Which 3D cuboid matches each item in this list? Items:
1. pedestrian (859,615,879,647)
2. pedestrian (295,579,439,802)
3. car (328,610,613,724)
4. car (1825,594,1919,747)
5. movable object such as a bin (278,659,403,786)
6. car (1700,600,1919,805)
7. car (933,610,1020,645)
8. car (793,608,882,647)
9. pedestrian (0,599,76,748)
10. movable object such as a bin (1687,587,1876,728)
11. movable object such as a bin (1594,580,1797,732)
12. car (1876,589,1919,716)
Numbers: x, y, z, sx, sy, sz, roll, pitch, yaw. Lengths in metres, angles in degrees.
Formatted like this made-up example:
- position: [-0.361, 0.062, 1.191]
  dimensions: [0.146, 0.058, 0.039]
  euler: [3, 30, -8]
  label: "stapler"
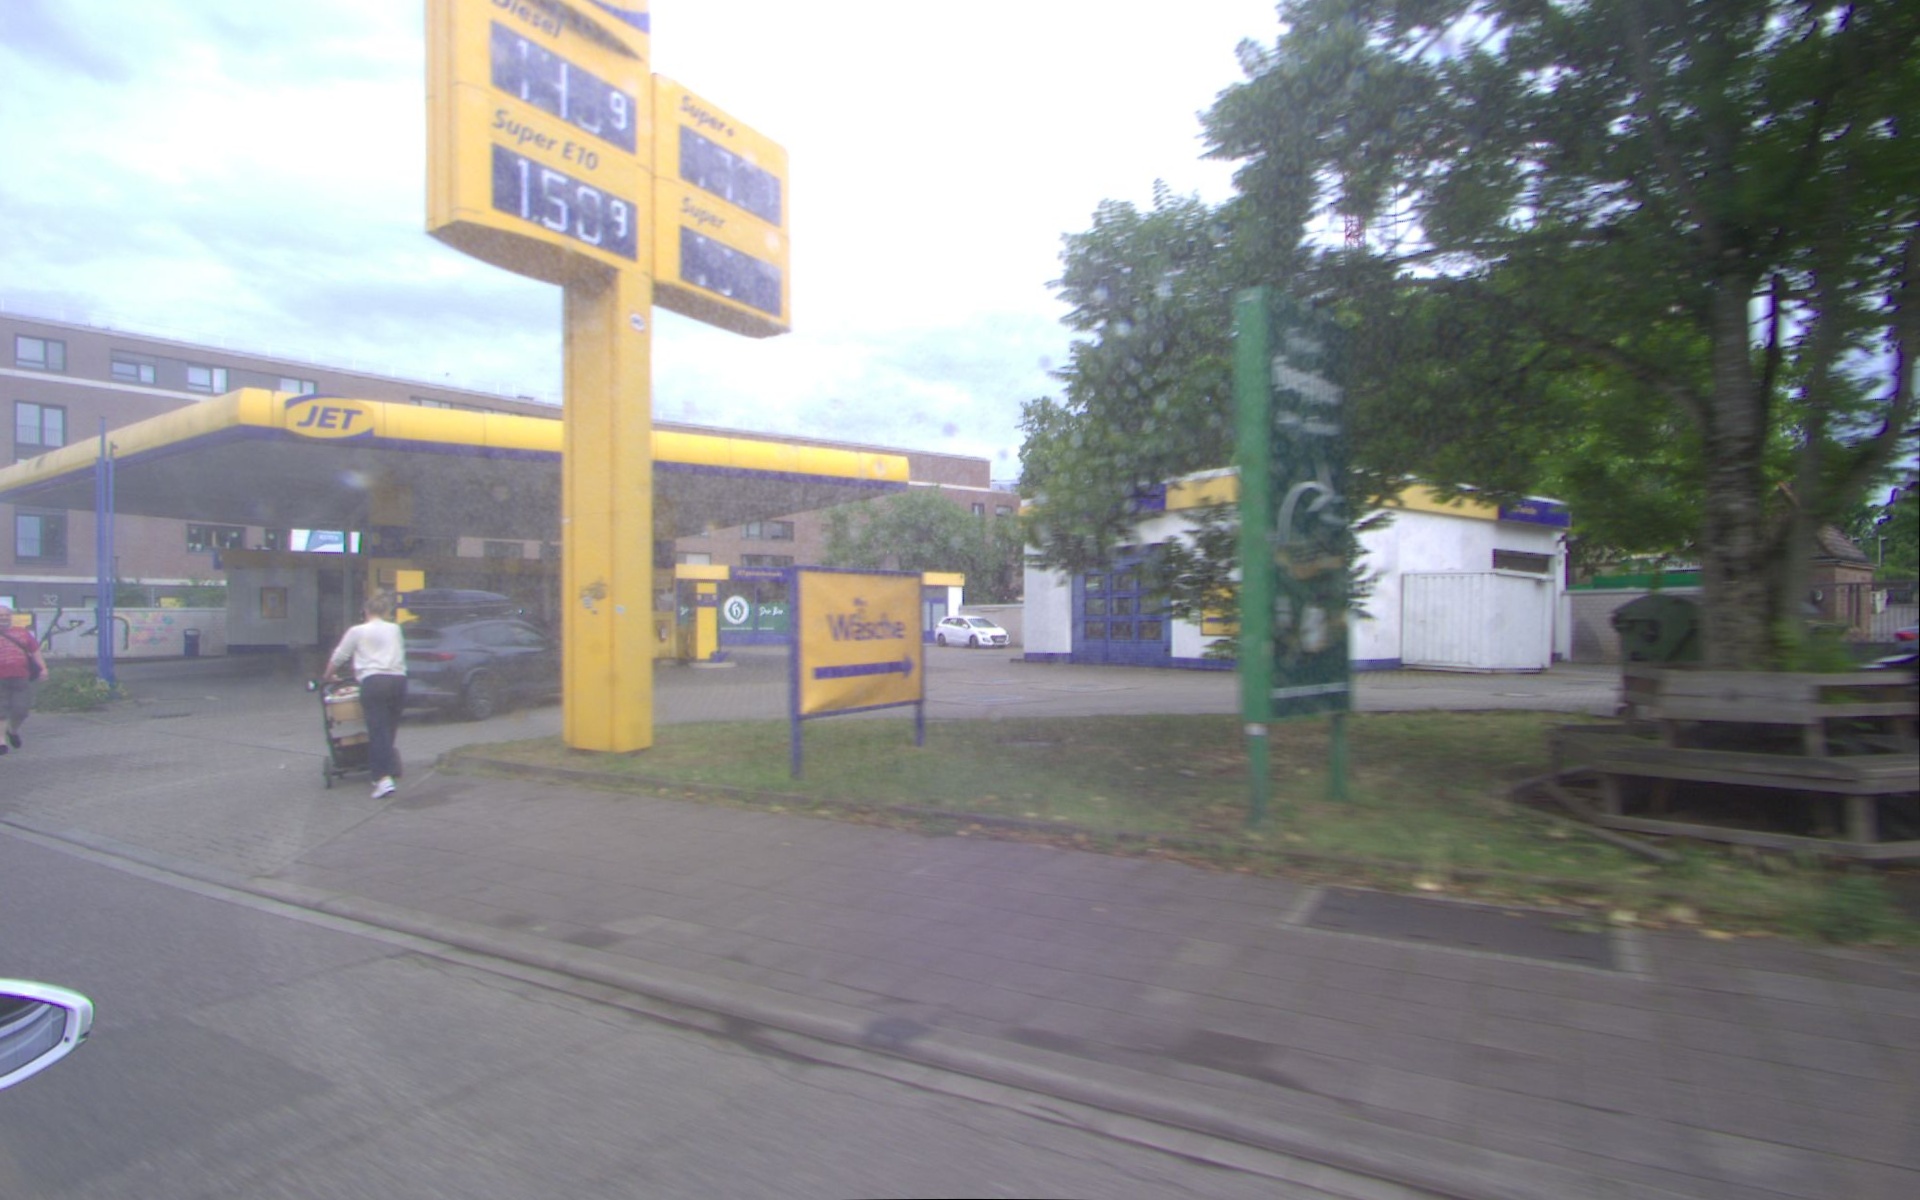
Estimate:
- position: [-3.834, 1.310, 42.210]
  dimensions: [0.573, 1.364, 0.607]
  euler: [2, -2, -36]
  label: "pedestrian"
- position: [-5.274, 0.750, 8.896]
  dimensions: [1.150, 1.821, 0.763]
  euler: [0, 2, 44]
  label: "pedestrian"
- position: [-7.694, 0.958, 16.308]
  dimensions: [1.959, 1.517, 4.322]
  euler: [0, 0, 11]
  label: "car"
- position: [10.723, 0.688, 8.727]
  dimensions: [1.845, 1.446, 4.532]
  euler: [-2, 1, -17]
  label: "car"
- position: [-5.929, 1.136, 9.578]
  dimensions: [1.013, 1.053, 0.763]
  euler: [-1, 2, 44]
  label: "movable object such as a bin"
- position: [7.771, 0.711, 6.496]
  dimensions: [1.901, 1.426, 4.576]
  euler: [0, 0, -16]
  label: "car"
- position: [0.729, 1.354, 47.278]
  dimensions: [1.914, 1.546, 4.305]
  euler: [2, -3, -36]
  label: "car"
- position: [-5.450, 1.254, 44.130]
  dimensions: [1.820, 1.658, 4.442]
  euler: [2, -3, -40]
  label: "car"
- position: [-11.670, 0.889, 12.301]
  dimensions: [0.849, 1.762, 0.969]
  euler: [-1, 1, 33]
  label: "pedestrian"
- position: [9.356, 0.634, 11.446]
  dimensions: [1.273, 1.510, 1.121]
  euler: [2, 1, -20]
  label: "movable object such as a bin"
- position: [8.071, 0.585, 11.035]
  dimensions: [1.397, 1.535, 1.120]
  euler: [1, 3, -19]
  label: "movable object such as a bin"
- position: [12.731, 0.639, 10.303]
  dimensions: [1.952, 1.478, 4.477]
  euler: [0, 0, -21]
  label: "car"
